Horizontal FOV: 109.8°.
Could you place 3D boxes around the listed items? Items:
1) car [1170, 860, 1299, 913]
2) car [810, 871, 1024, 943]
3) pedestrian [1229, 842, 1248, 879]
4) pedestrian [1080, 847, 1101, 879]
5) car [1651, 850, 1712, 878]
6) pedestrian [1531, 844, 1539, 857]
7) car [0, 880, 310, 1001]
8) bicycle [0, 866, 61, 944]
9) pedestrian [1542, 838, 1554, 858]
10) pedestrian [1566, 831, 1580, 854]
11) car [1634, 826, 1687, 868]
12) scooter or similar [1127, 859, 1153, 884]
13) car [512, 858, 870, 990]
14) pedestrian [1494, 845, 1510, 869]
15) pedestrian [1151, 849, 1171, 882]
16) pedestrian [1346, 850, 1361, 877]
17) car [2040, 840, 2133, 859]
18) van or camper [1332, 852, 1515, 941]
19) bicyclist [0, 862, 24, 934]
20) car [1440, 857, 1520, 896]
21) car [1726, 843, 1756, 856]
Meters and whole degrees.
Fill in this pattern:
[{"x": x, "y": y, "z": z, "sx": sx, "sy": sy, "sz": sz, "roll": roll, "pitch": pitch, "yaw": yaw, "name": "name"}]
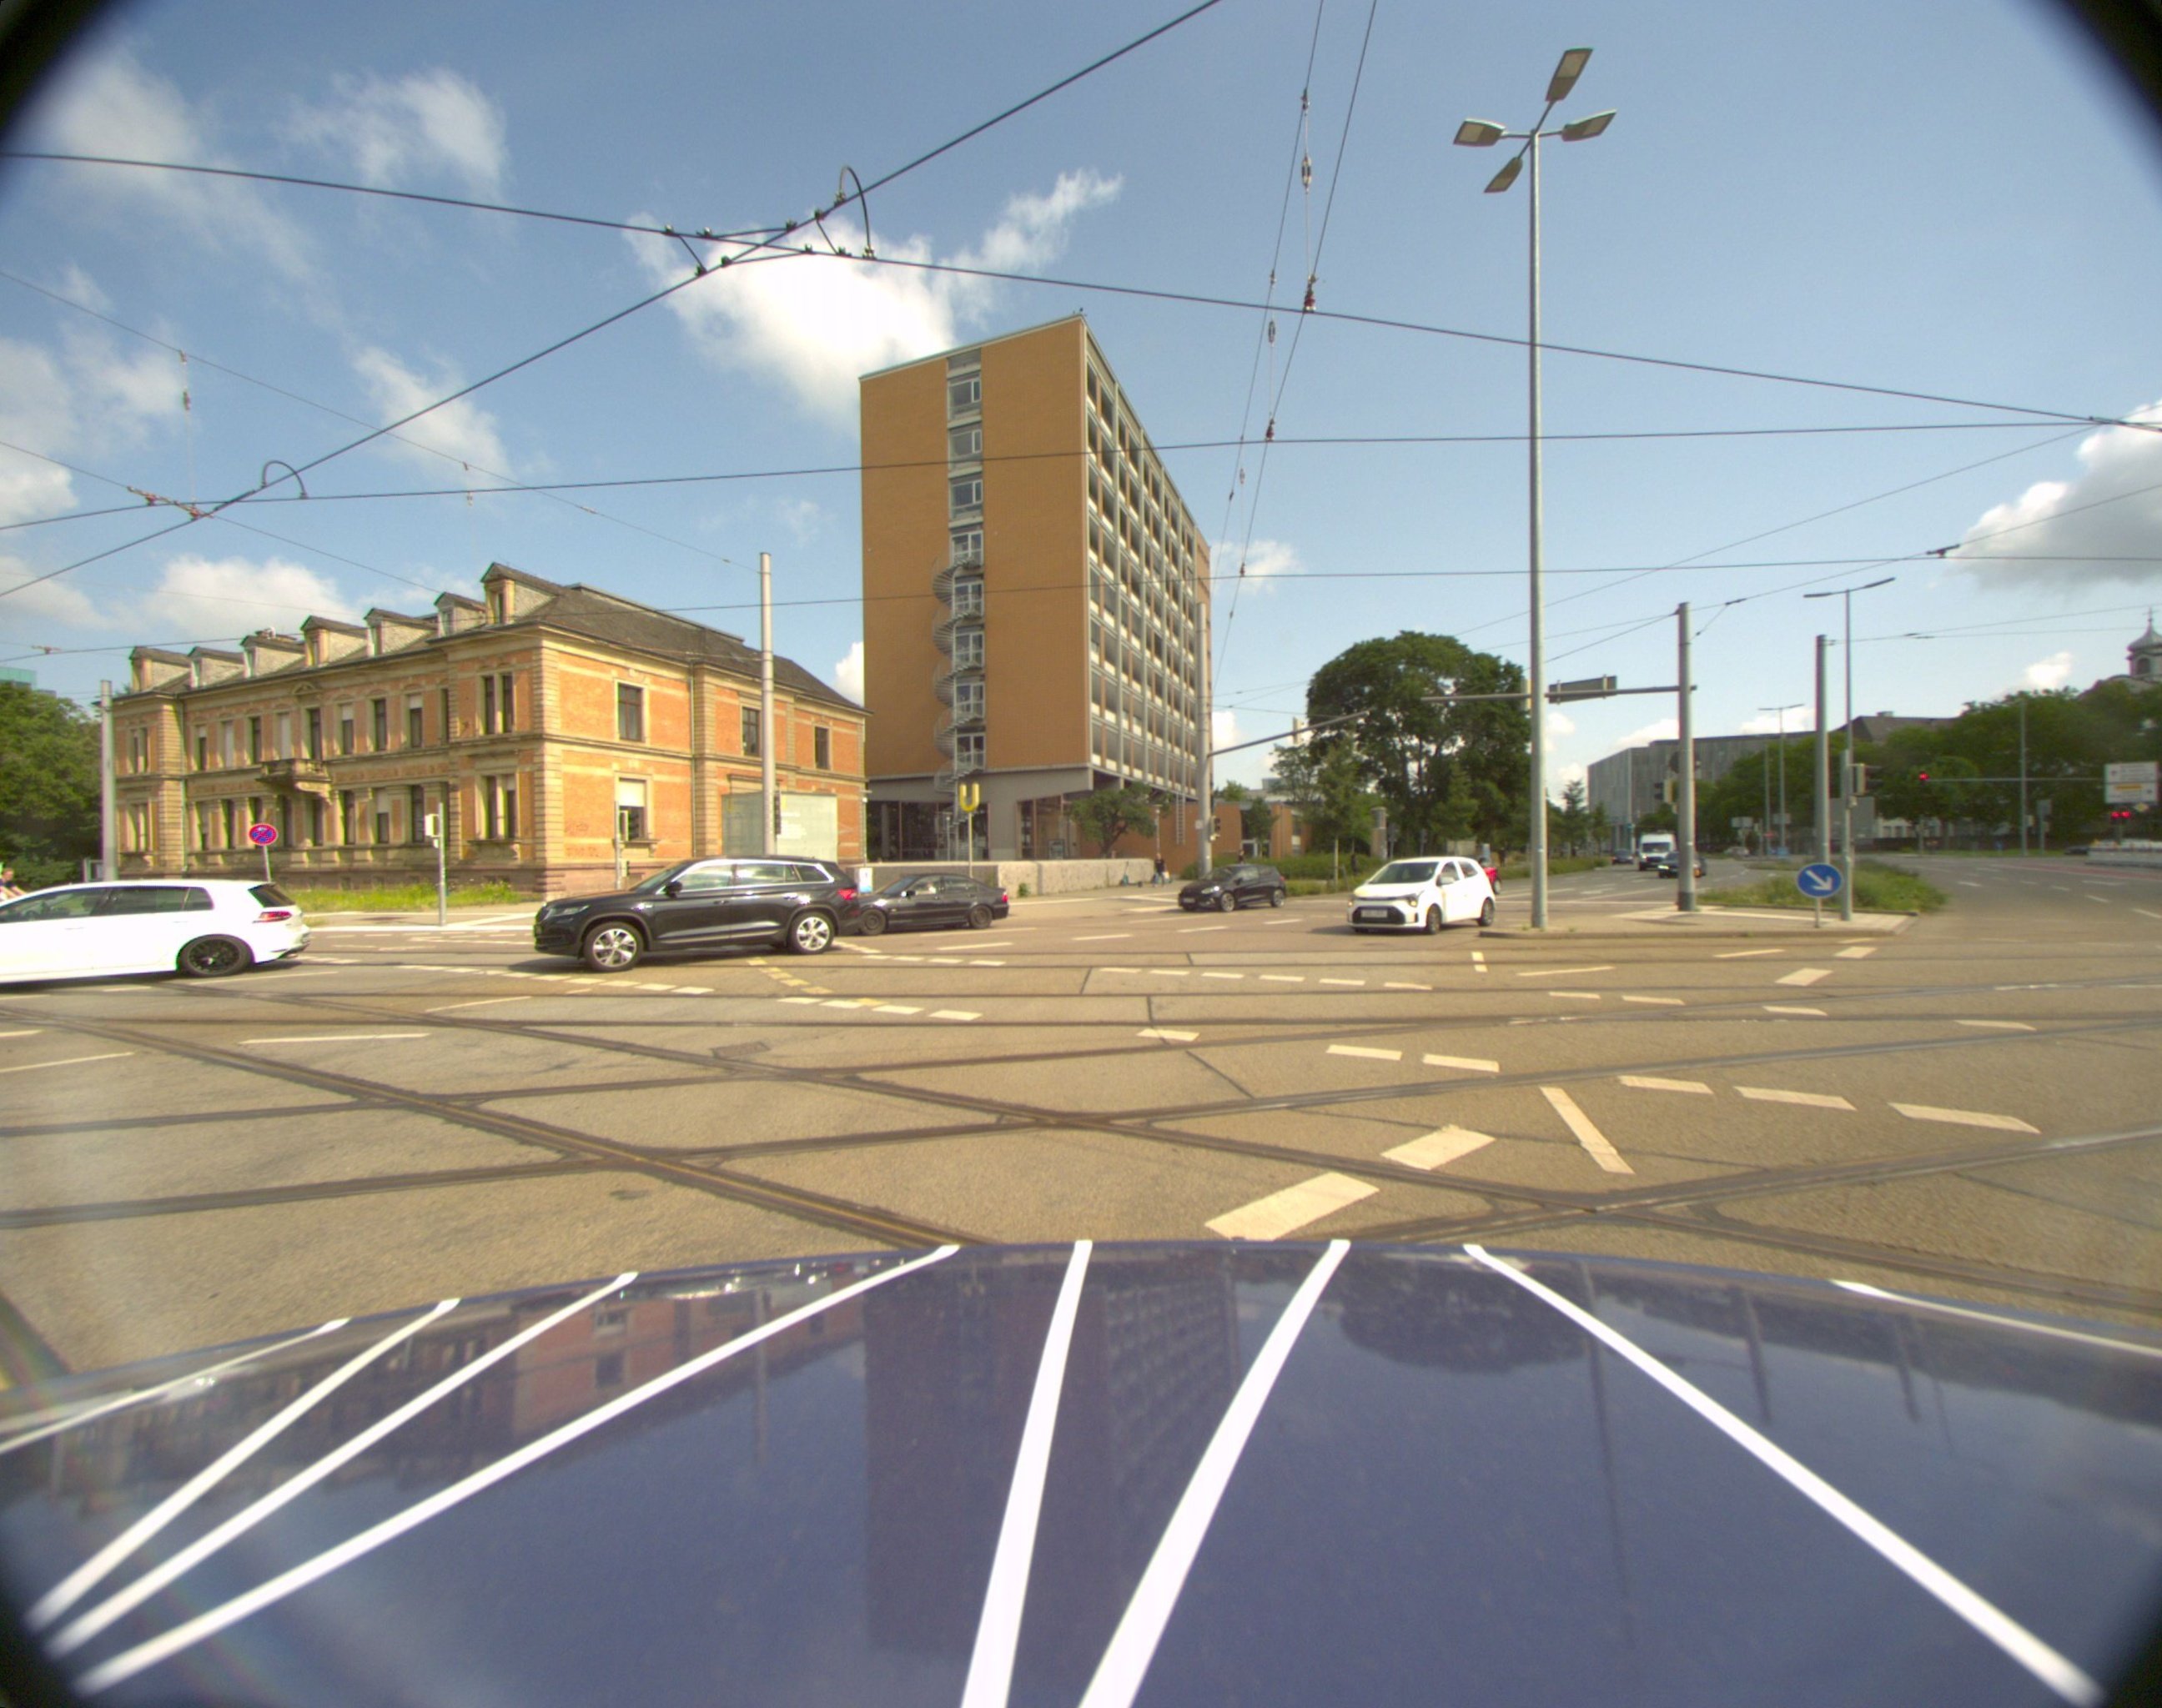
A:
[{"x": 4.973, "y": 0.982, "z": 24.479, "sx": 4.006, "sy": 1.445, "sz": 1.710, "roll": -2, "pitch": 1, "yaw": -33, "name": "car"}, {"x": -3.806, "y": 1.165, "z": 18.023, "sx": 4.517, "sy": 1.390, "sz": 1.995, "roll": -1, "pitch": 0, "yaw": -37, "name": "car"}, {"x": 8.717, "y": 0.340, "z": 42.106, "sx": 0.807, "sy": 2.004, "sz": 0.724, "roll": 1, "pitch": 6, "yaw": -1, "name": "pedestrian"}, {"x": 0.492, "y": 0.482, "z": 40.875, "sx": 0.939, "sy": 1.580, "sz": 0.763, "roll": 2, "pitch": 5, "yaw": -9, "name": "pedestrian"}, {"x": 32.630, "y": 0.482, "z": 41.226, "sx": 4.553, "sy": 1.274, "sz": 1.994, "roll": -3, "pitch": 3, "yaw": -44, "name": "car"}, {"x": 68.002, "y": -0.523, "z": 113.732, "sx": 0.984, "sy": 2.002, "sz": 1.132, "roll": 0, "pitch": 1, "yaw": 34, "name": "pedestrian"}, {"x": -13.648, "y": 1.117, "z": 10.340, "sx": 4.241, "sy": 1.437, "sz": 1.680, "roll": 0, "pitch": -1, "yaw": -38, "name": "car"}, {"x": -25.518, "y": 1.212, "z": 17.862, "sx": 1.640, "sy": 1.767, "sz": 0.729, "roll": -3, "pitch": 3, "yaw": -42, "name": "bicycle"}, {"x": 48.720, "y": -0.610, "z": 79.250, "sx": 0.984, "sy": 2.003, "sz": 1.132, "roll": 1, "pitch": 3, "yaw": 34, "name": "pedestrian"}, {"x": 43.340, "y": -1.040, "z": 66.863, "sx": 0.984, "sy": 2.003, "sz": 1.132, "roll": 1, "pitch": 3, "yaw": 34, "name": "pedestrian"}, {"x": 42.448, "y": -0.485, "z": 55.602, "sx": 2.479, "sy": 2.862, "sz": 6.162, "roll": -1, "pitch": 0, "yaw": 43, "name": "car"}, {"x": 2.805, "y": 0.833, "z": 36.237, "sx": 1.186, "sy": 1.124, "sz": 0.403, "roll": 1, "pitch": 4, "yaw": -1, "name": "scooter or similar"}, {"x": -5.991, "y": 0.925, "z": 11.987, "sx": 4.693, "sy": 1.658, "sz": 1.995, "roll": 0, "pitch": -1, "yaw": -39, "name": "car"}, {"x": 33.238, "y": 0.219, "z": 60.002, "sx": 0.646, "sy": 1.862, "sz": 0.758, "roll": -3, "pitch": 7, "yaw": -41, "name": "pedestrian"}, {"x": 3.863, "y": 0.541, "z": 36.684, "sx": 0.771, "sy": 1.579, "sz": 0.766, "roll": -1, "pitch": 1, "yaw": 24, "name": "pedestrian"}, {"x": 15.508, "y": 0.532, "z": 43.279, "sx": 0.582, "sy": 1.513, "sz": 0.478, "roll": -3, "pitch": 6, "yaw": -35, "name": "pedestrian"}, {"x": 79.918, "y": -0.365, "z": 60.461, "sx": 4.120, "sy": 1.382, "sz": 1.762, "roll": -1, "pitch": 0, "yaw": 22, "name": "car"}, {"x": 7.013, "y": 0.788, "z": 15.409, "sx": 4.007, "sy": 1.467, "sz": 1.624, "roll": -2, "pitch": 0, "yaw": -38, "name": "van or camper"}, {"x": -25.525, "y": 1.036, "z": 17.833, "sx": 0.657, "sy": 1.661, "sz": 0.572, "roll": -3, "pitch": 3, "yaw": -42, "name": "bicyclist"}, {"x": 15.153, "y": 0.815, "z": 28.822, "sx": 3.015, "sy": 1.208, "sz": 1.605, "roll": -4, "pitch": 3, "yaw": -39, "name": "car"}, {"x": 90.205, "y": -0.600, "z": 103.893, "sx": 1.994, "sy": 1.560, "sz": 4.790, "roll": 2, "pitch": 4, "yaw": 28, "name": "car"}]
